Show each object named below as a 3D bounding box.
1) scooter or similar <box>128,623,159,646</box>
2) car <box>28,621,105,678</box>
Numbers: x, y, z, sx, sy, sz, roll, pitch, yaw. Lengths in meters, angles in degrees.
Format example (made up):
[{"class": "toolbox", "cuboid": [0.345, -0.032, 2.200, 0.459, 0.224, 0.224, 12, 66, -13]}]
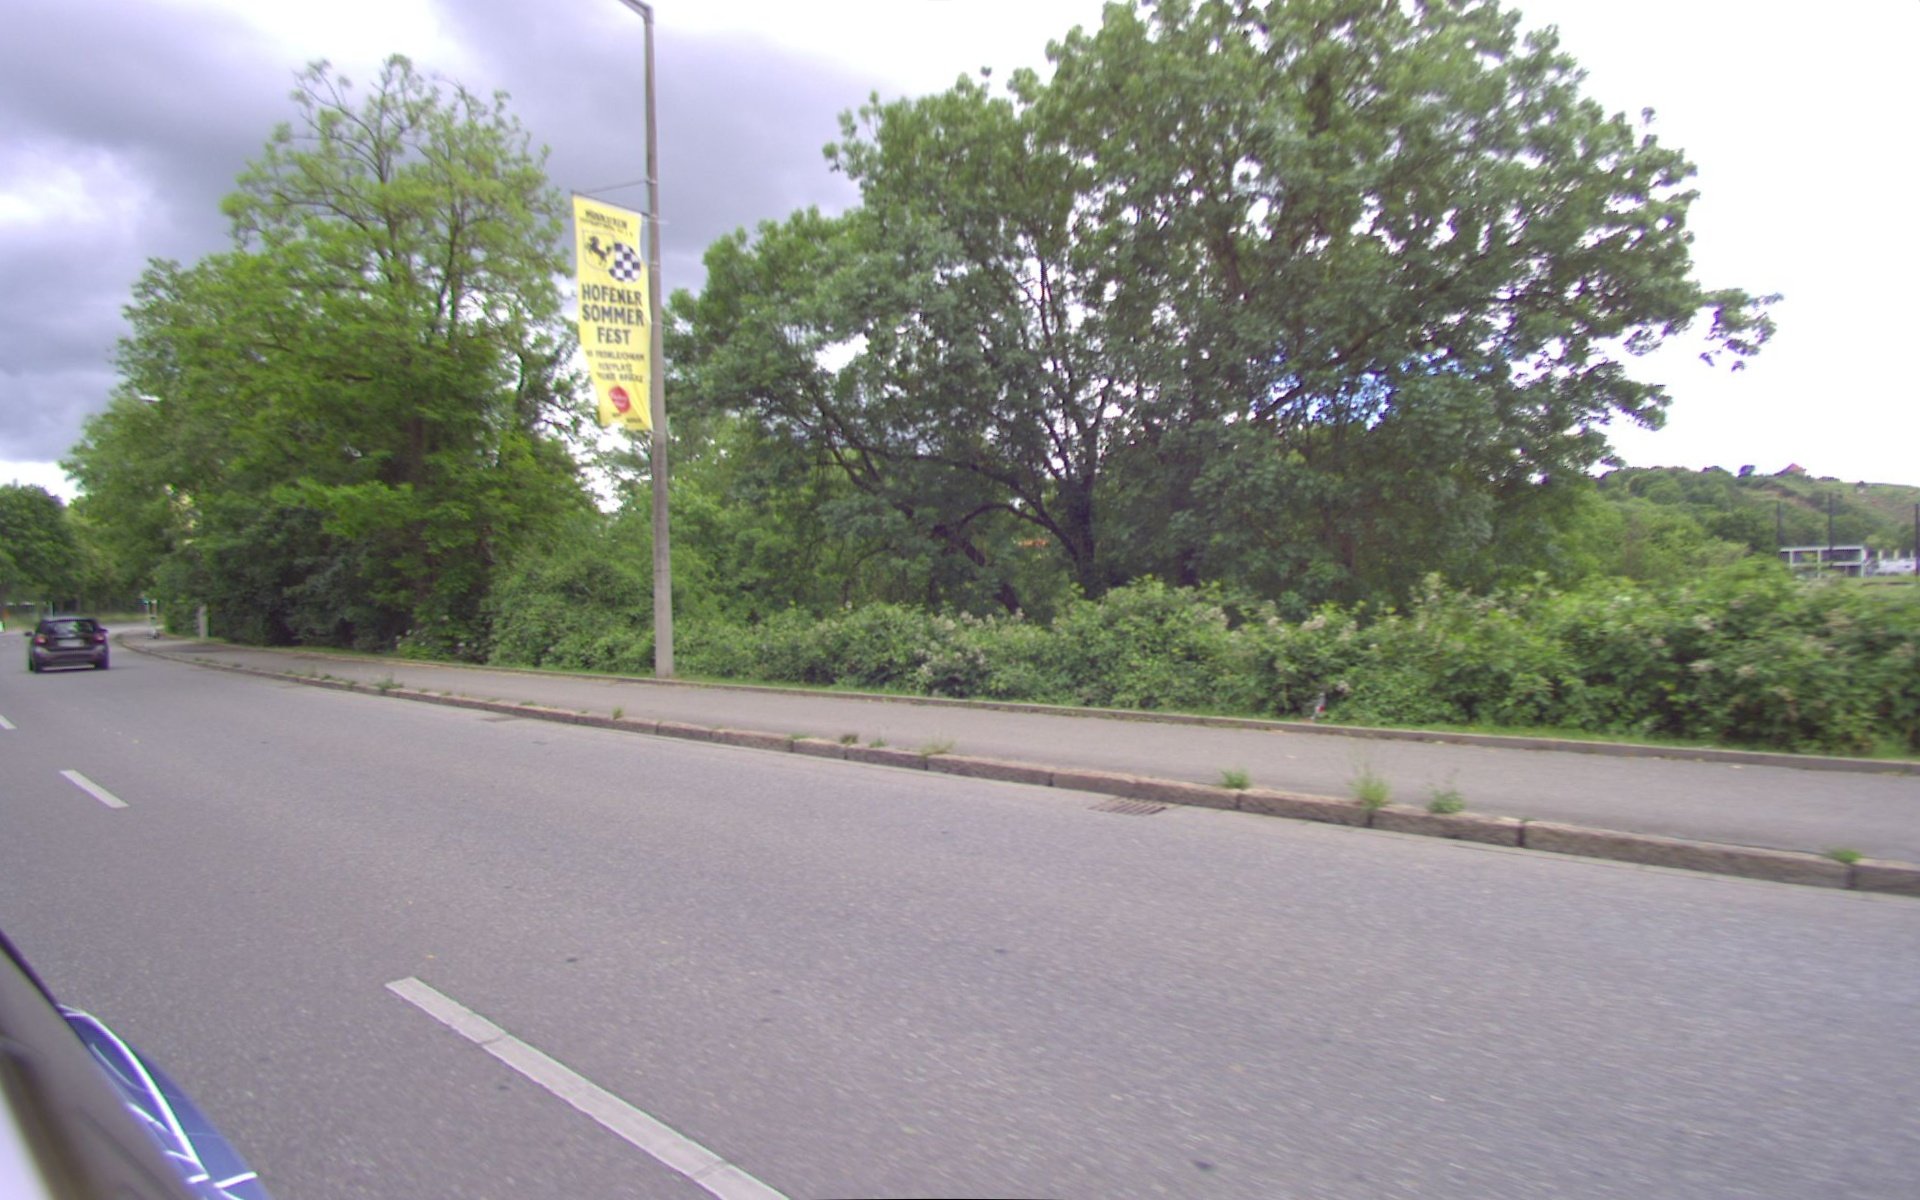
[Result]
[{"class": "scooter or similar", "cuboid": [-43.486, 1.836, 53.912, 1.279, 1.193, 0.366, -3, 1, -2]}, {"class": "car", "cuboid": [-25.550, 1.372, 29.003, 1.576, 1.517, 3.033, -1, 0, -40]}]
